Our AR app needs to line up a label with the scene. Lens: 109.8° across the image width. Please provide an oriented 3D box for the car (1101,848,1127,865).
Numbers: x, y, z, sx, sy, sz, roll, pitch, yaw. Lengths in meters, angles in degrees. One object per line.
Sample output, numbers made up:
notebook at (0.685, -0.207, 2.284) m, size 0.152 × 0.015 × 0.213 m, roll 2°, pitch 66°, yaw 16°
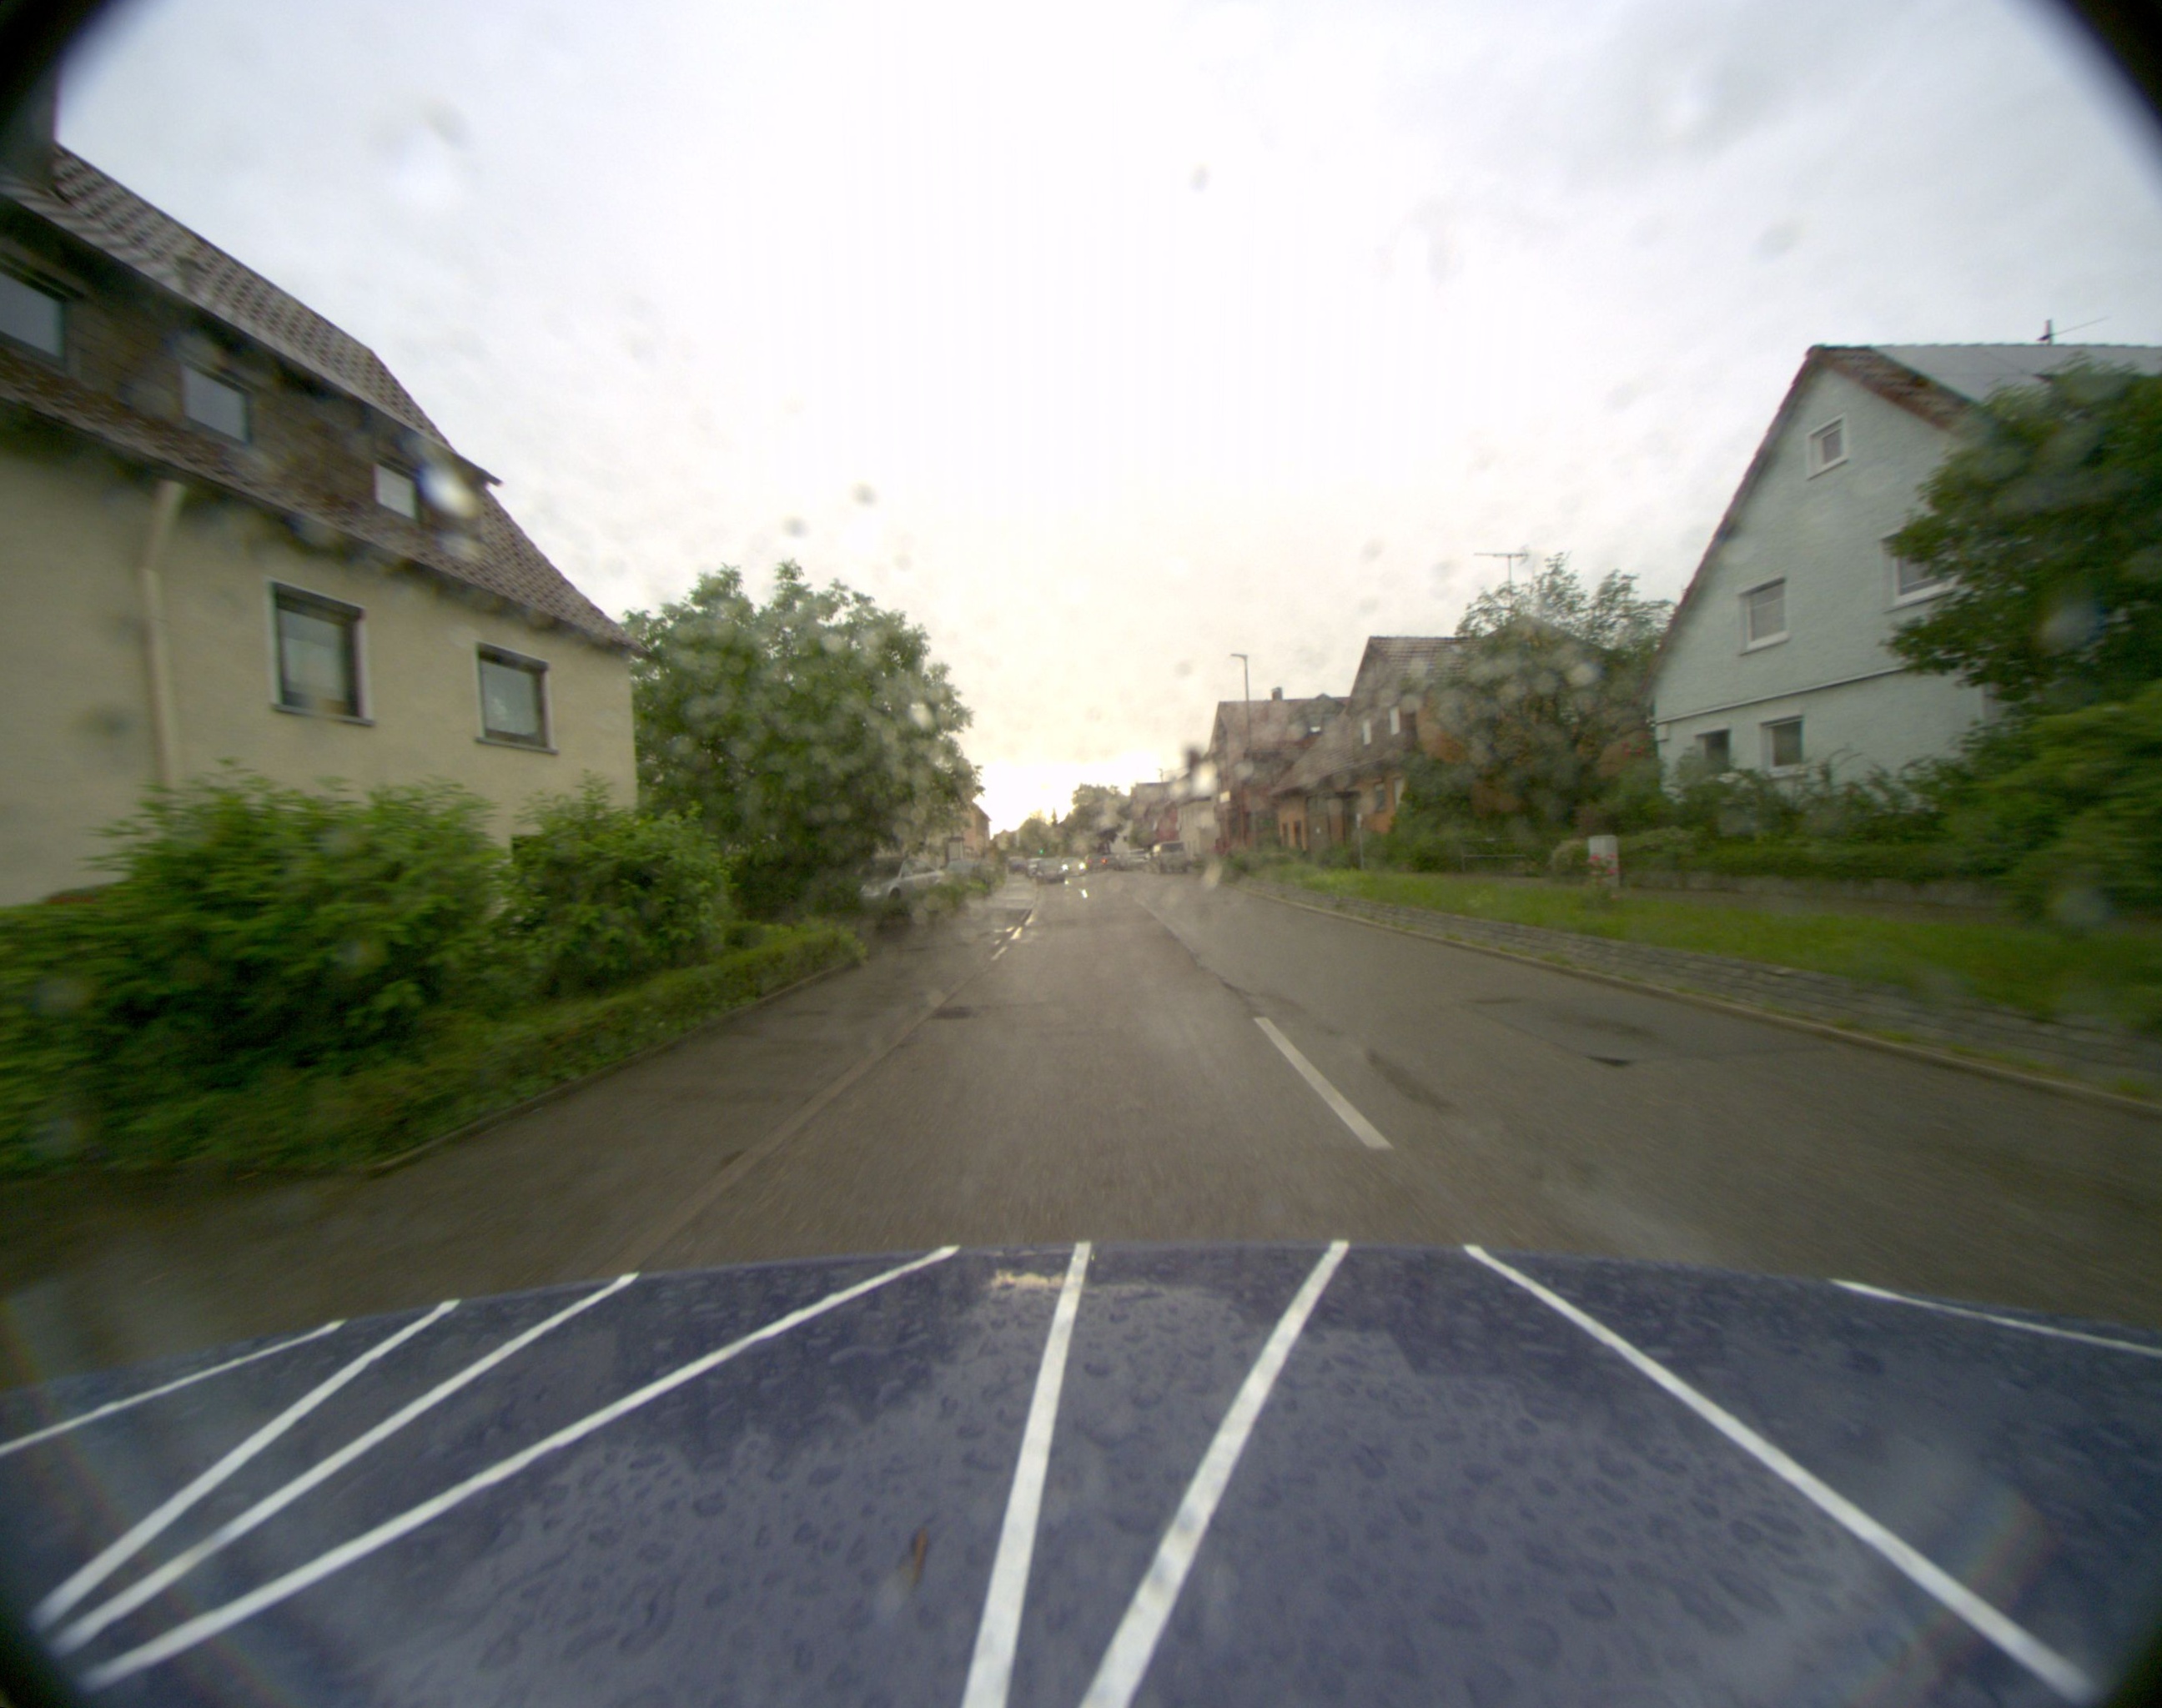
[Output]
car at (3.299, 0.245, 77.462) m, size 1.813 × 1.612 × 3.997 m, roll -3°, pitch 0°, yaw -8°

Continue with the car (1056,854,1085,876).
car at (-0.872, 0.841, 60.898) m, size 1.999 × 1.521 × 3.998 m, roll -5°, pitch 0°, yaw -5°

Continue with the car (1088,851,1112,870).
car at (1.667, 0.545, 67.983) m, size 1.812 × 1.565 × 3.999 m, roll -3°, pitch 0°, yaw -3°

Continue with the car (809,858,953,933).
car at (-5.394, 1.070, 21.244) m, size 1.910 × 1.701 × 4.483 m, roll -3°, pitch 0°, yaw 13°

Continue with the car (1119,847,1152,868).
car at (4.459, 0.287, 62.731) m, size 1.813 × 1.612 × 3.997 m, roll -3°, pitch 0°, yaw -8°

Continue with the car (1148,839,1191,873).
car at (5.581, 0.129, 48.352) m, size 1.846 × 1.912 × 4.188 m, roll -5°, pitch 0°, yaw -3°

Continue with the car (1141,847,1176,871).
car at (5.416, 0.327, 53.332) m, size 1.812 × 1.565 × 3.663 m, roll -3°, pitch 0°, yaw -3°

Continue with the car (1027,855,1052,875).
car at (-3.550, 0.899, 64.973) m, size 1.999 × 1.521 × 3.999 m, roll -3°, pitch 0°, yaw -4°

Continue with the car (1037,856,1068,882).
car at (-1.830, 0.925, 48.196) m, size 1.788 × 1.455 × 3.999 m, roll -3°, pitch 0°, yaw -3°

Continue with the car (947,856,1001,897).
car at (-4.837, 0.954, 34.797) m, size 1.999 × 1.644 × 4.069 m, roll -3°, pitch 0°, yaw -3°

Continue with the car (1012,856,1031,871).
car at (-7.025, 1.127, 89.766) m, size 1.999 × 1.521 × 3.998 m, roll -5°, pitch 0°, yaw -6°
